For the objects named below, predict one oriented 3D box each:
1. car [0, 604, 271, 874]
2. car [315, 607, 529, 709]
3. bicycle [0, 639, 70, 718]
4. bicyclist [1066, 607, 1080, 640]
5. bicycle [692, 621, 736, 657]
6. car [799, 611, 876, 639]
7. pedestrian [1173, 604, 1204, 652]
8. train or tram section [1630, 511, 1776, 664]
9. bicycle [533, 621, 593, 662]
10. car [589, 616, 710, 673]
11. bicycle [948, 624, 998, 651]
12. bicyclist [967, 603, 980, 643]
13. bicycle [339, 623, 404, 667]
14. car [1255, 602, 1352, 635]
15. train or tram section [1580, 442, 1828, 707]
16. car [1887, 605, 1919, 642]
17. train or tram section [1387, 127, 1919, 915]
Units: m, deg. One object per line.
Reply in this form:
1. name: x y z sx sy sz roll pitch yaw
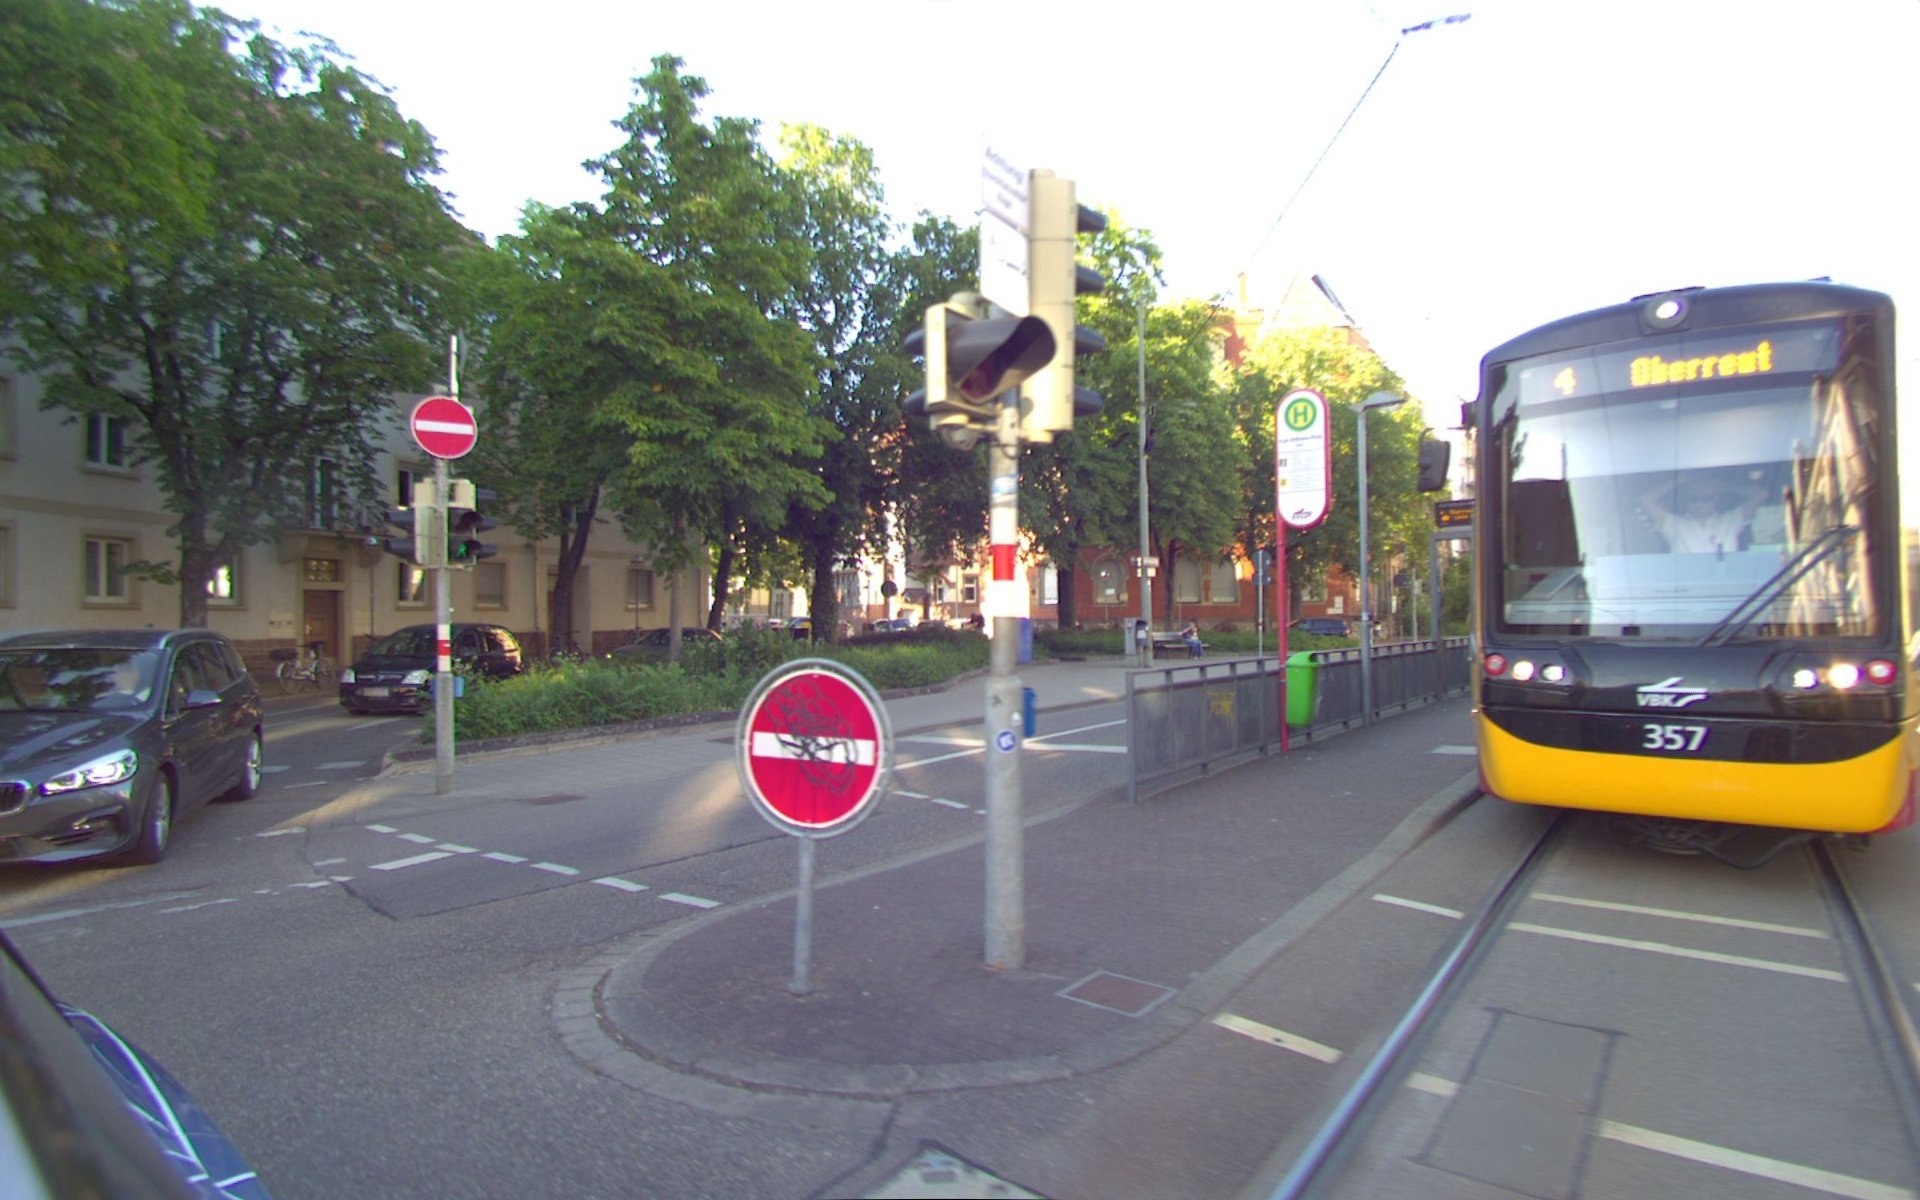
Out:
1. car: -6.851 0.877 7.826 1.763 1.590 4.274 0 -1 -24
2. car: -9.667 0.987 18.530 1.660 1.641 3.681 1 -1 6
3. bicycle: -14.250 1.158 15.050 0.520 1.116 1.742 2 -2 -4
4. bicyclist: 5.443 1.149 48.874 0.551 1.585 0.594 -1 -1 20
5. bicycle: -9.447 1.489 38.938 0.761 1.315 1.892 -1 -1 17
6. car: -6.568 1.337 54.307 3.741 1.436 1.680 0 -1 -35
7. pedestrian: 7.090 0.864 31.365 0.710 1.454 0.591 -2 -1 44
8. train or tram section: 21.644 -0.245 29.544 2.769 3.584 12.525 -2 -1 36
9. bicycle: -12.414 1.291 31.707 0.713 1.232 1.904 -1 -1 17
10. car: -8.532 1.175 28.134 1.663 1.419 3.674 0 0 12
11. bicycle: 0.537 1.519 40.859 1.959 1.065 0.636 -1 -1 9
12. bicyclist: 0.550 0.930 40.860 0.495 1.585 0.494 -1 -1 7
13. bicycle: -15.896 1.205 27.401 0.791 1.127 1.860 -1 -1 -4
14. car: 15.501 0.840 45.883 3.962 1.454 1.969 -1 -1 15
15. train or tram section: 14.278 -0.289 19.555 2.781 3.614 12.266 -2 -1 36
16. car: 38.087 0.890 39.880 1.784 1.420 3.952 -1 -1 36
17. train or tram section: 7.181 -0.324 9.917 2.795 3.647 11.655 -2 -1 36
